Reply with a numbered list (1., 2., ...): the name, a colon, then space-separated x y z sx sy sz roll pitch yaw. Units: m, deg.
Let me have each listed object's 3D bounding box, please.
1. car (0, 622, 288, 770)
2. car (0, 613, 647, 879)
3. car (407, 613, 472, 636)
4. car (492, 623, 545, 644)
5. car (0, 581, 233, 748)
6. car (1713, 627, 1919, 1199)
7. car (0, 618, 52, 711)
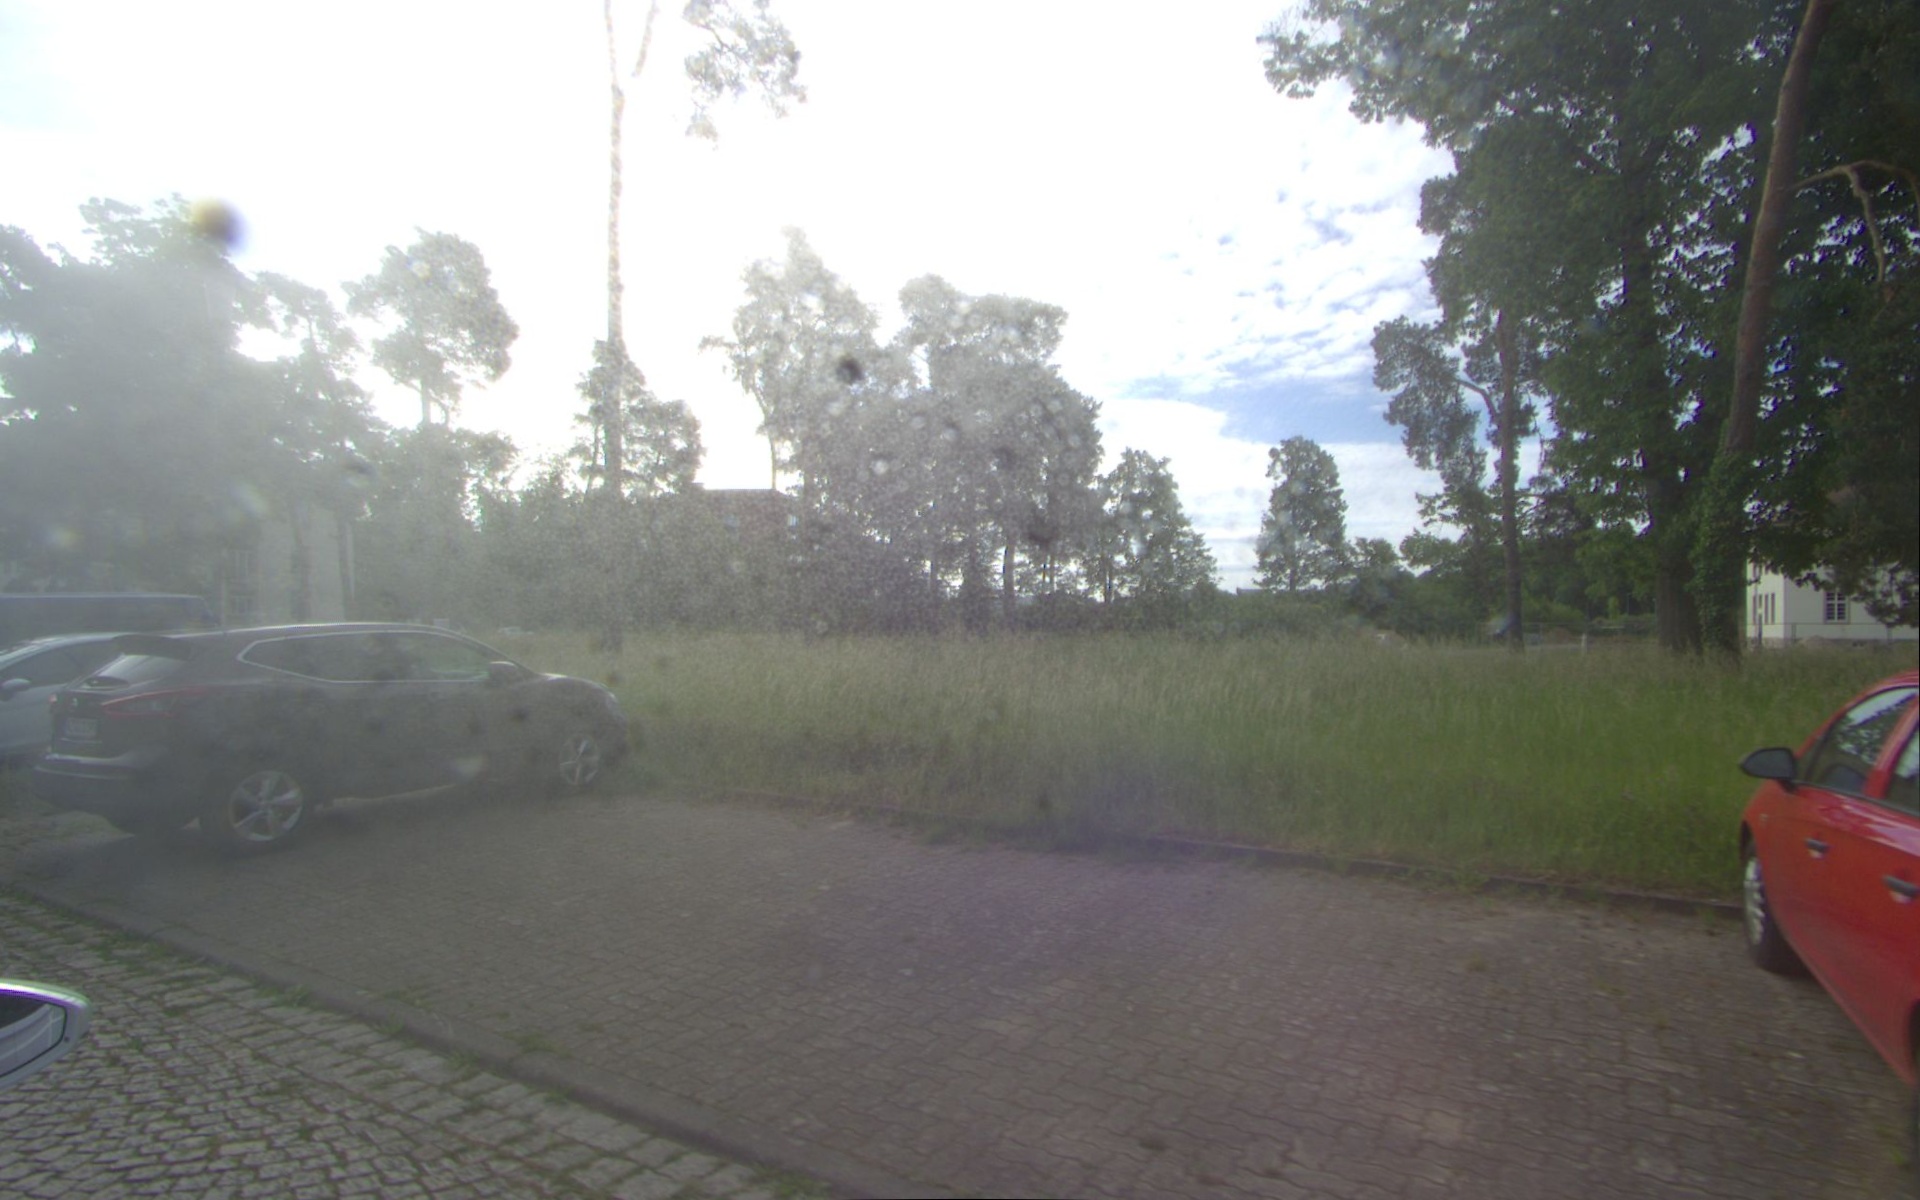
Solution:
1. car: -10.345 1.030 11.483 1.695 1.498 4.095 0 -1 28
2. car: -4.895 0.916 8.394 1.923 1.616 4.199 0 -1 29
3. car: -50.383 2.434 97.071 2.075 2.044 5.294 -1 -3 32
4. car: -40.771 3.074 92.548 1.873 1.826 4.127 -1 -3 33
5. car: -12.472 0.792 12.811 1.936 2.030 4.791 0 0 29
6. car: 3.799 0.872 3.149 1.758 1.516 3.919 0 -1 29
7. car: -16.870 1.047 15.650 1.739 1.498 3.648 0 -1 31
